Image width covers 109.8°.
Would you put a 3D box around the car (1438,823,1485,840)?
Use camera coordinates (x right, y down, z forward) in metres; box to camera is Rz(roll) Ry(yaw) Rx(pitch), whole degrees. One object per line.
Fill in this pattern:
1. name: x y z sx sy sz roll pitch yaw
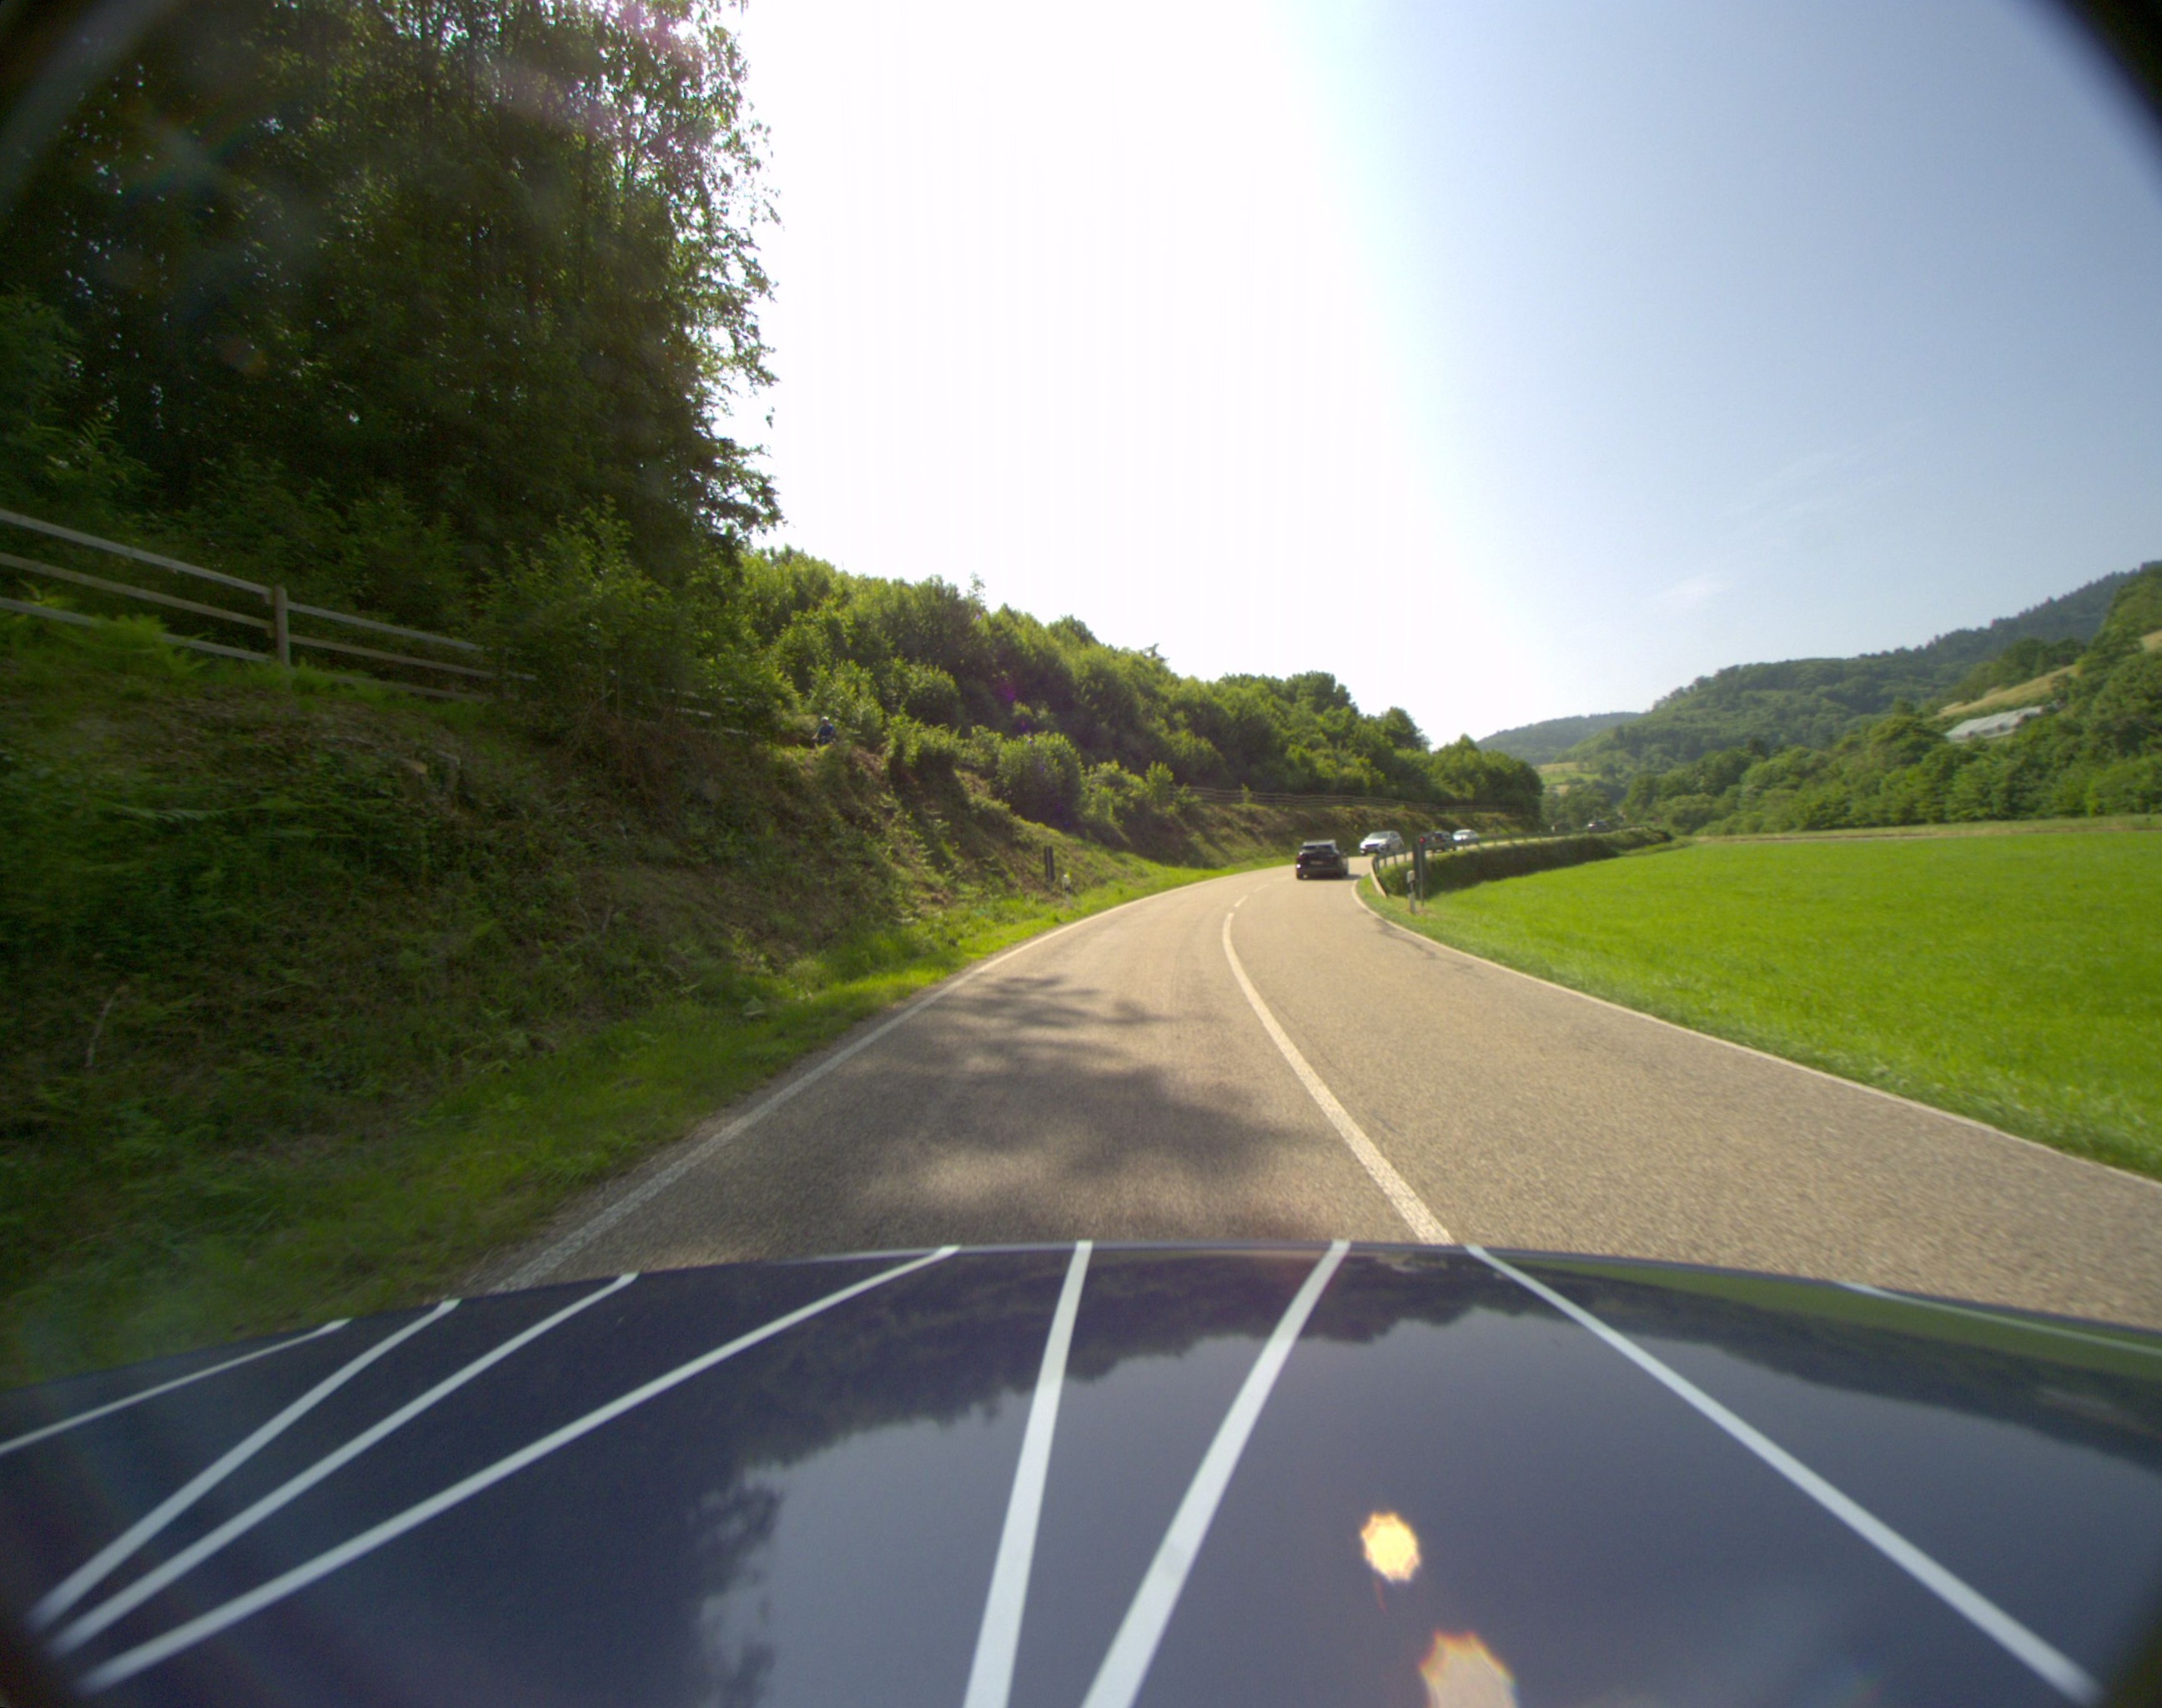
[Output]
1. car: 35.233 -2.094 70.289 4.680 1.482 2.142 -3 1 -39

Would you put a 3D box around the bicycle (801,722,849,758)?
1. bicycle: -8.650 -3.843 25.736 0.624 0.909 1.599 -5 -1 18

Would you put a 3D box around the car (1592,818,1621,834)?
1. car: 62.811 -3.360 90.770 4.007 1.665 1.709 -3 -1 -40

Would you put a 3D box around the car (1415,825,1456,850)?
1. car: 26.742 -1.263 57.226 1.950 1.730 4.905 -1 1 35

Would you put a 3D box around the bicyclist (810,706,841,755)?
1. bicyclist: -8.655 -4.176 25.773 0.624 1.515 0.614 -5 0 18

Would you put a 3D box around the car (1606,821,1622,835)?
1. car: 85.888 -4.227 122.498 1.995 2.002 4.006 -3 2 35

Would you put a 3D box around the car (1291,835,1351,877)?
1. car: 10.335 0.040 32.538 1.877 1.578 4.601 -2 1 24

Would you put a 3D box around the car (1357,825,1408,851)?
1. car: 22.745 -1.207 57.260 2.114 1.803 4.464 -4 -1 41
